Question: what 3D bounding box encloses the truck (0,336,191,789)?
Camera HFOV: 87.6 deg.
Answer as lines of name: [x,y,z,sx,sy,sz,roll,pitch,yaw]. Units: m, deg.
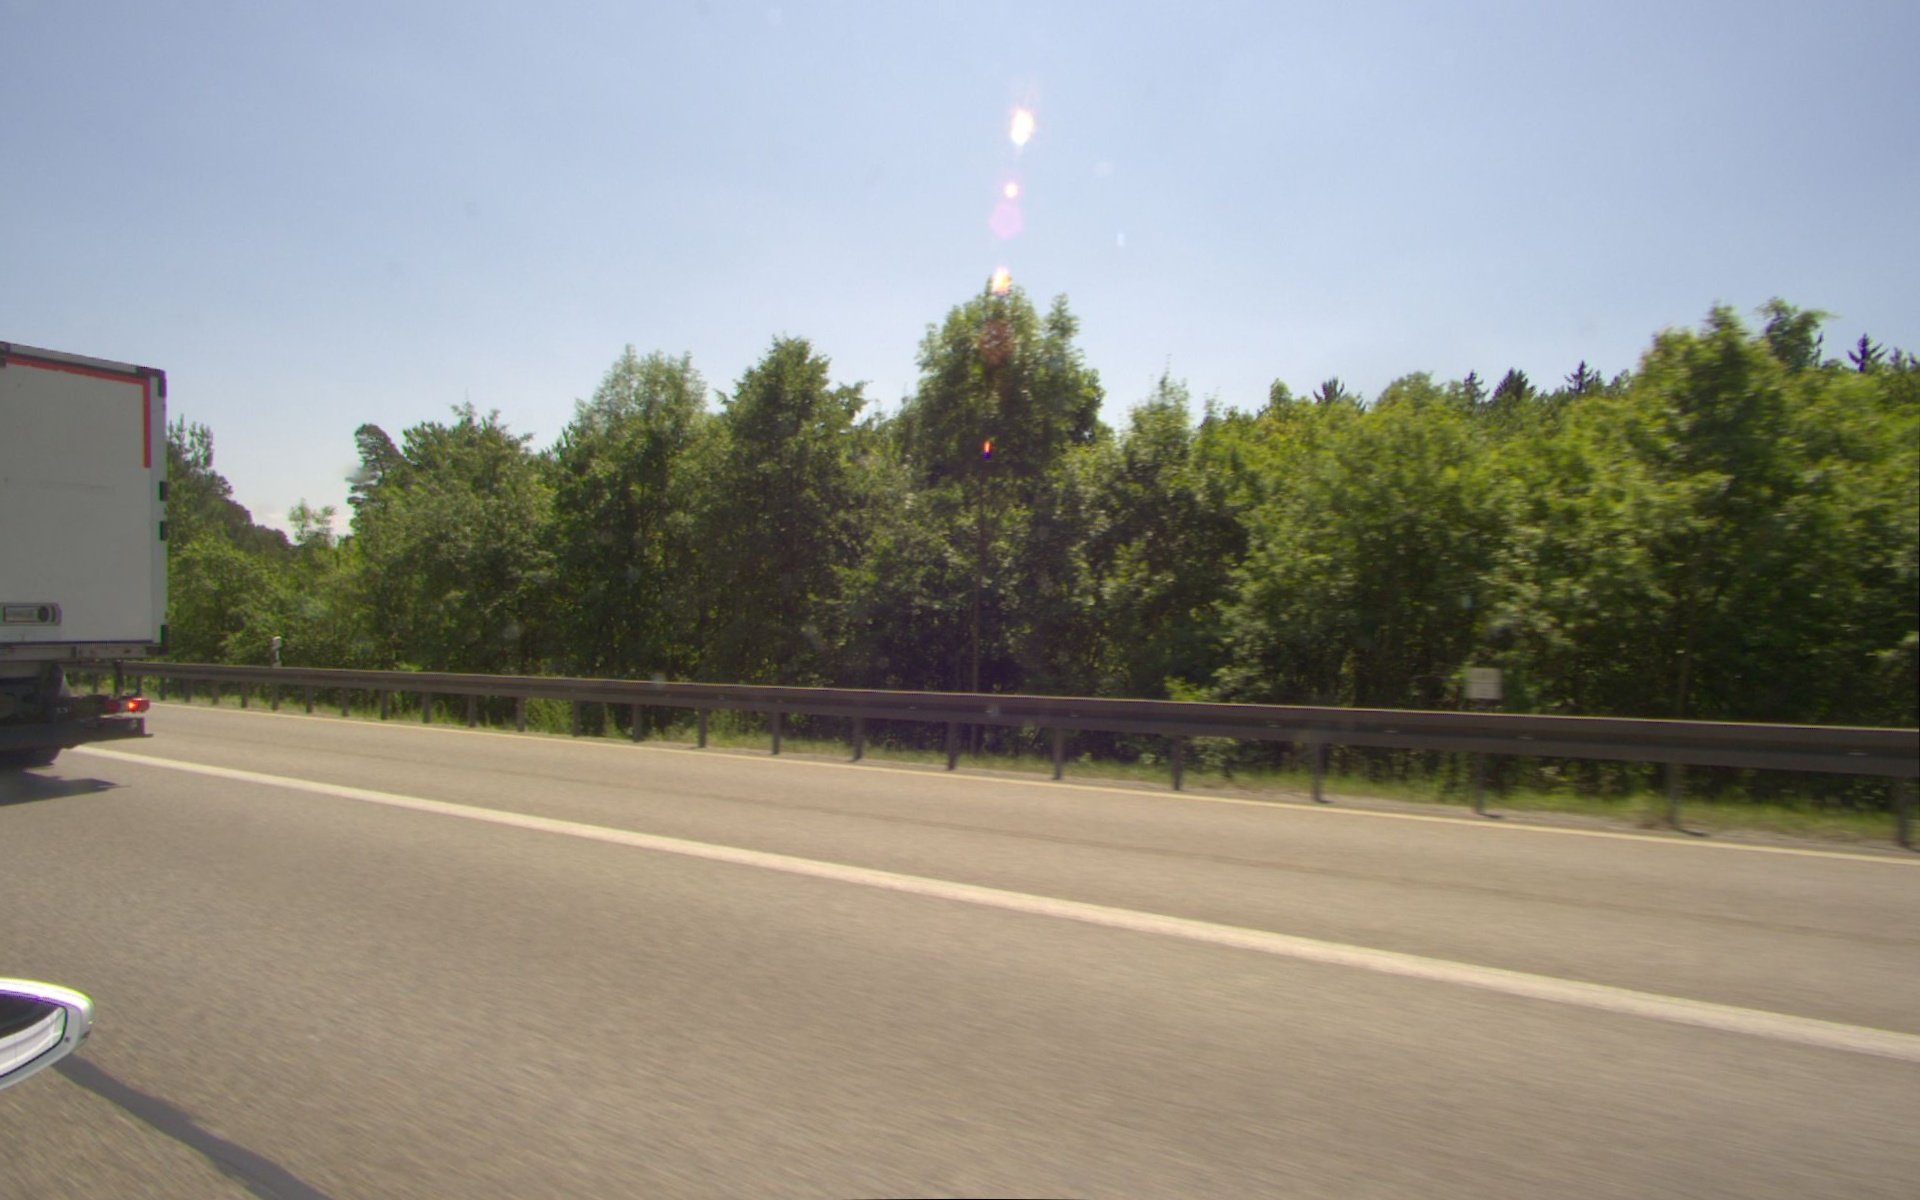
truck: [-12.409,-0.257,11.253,9.640,3.929,2.681,-1,2,32]
